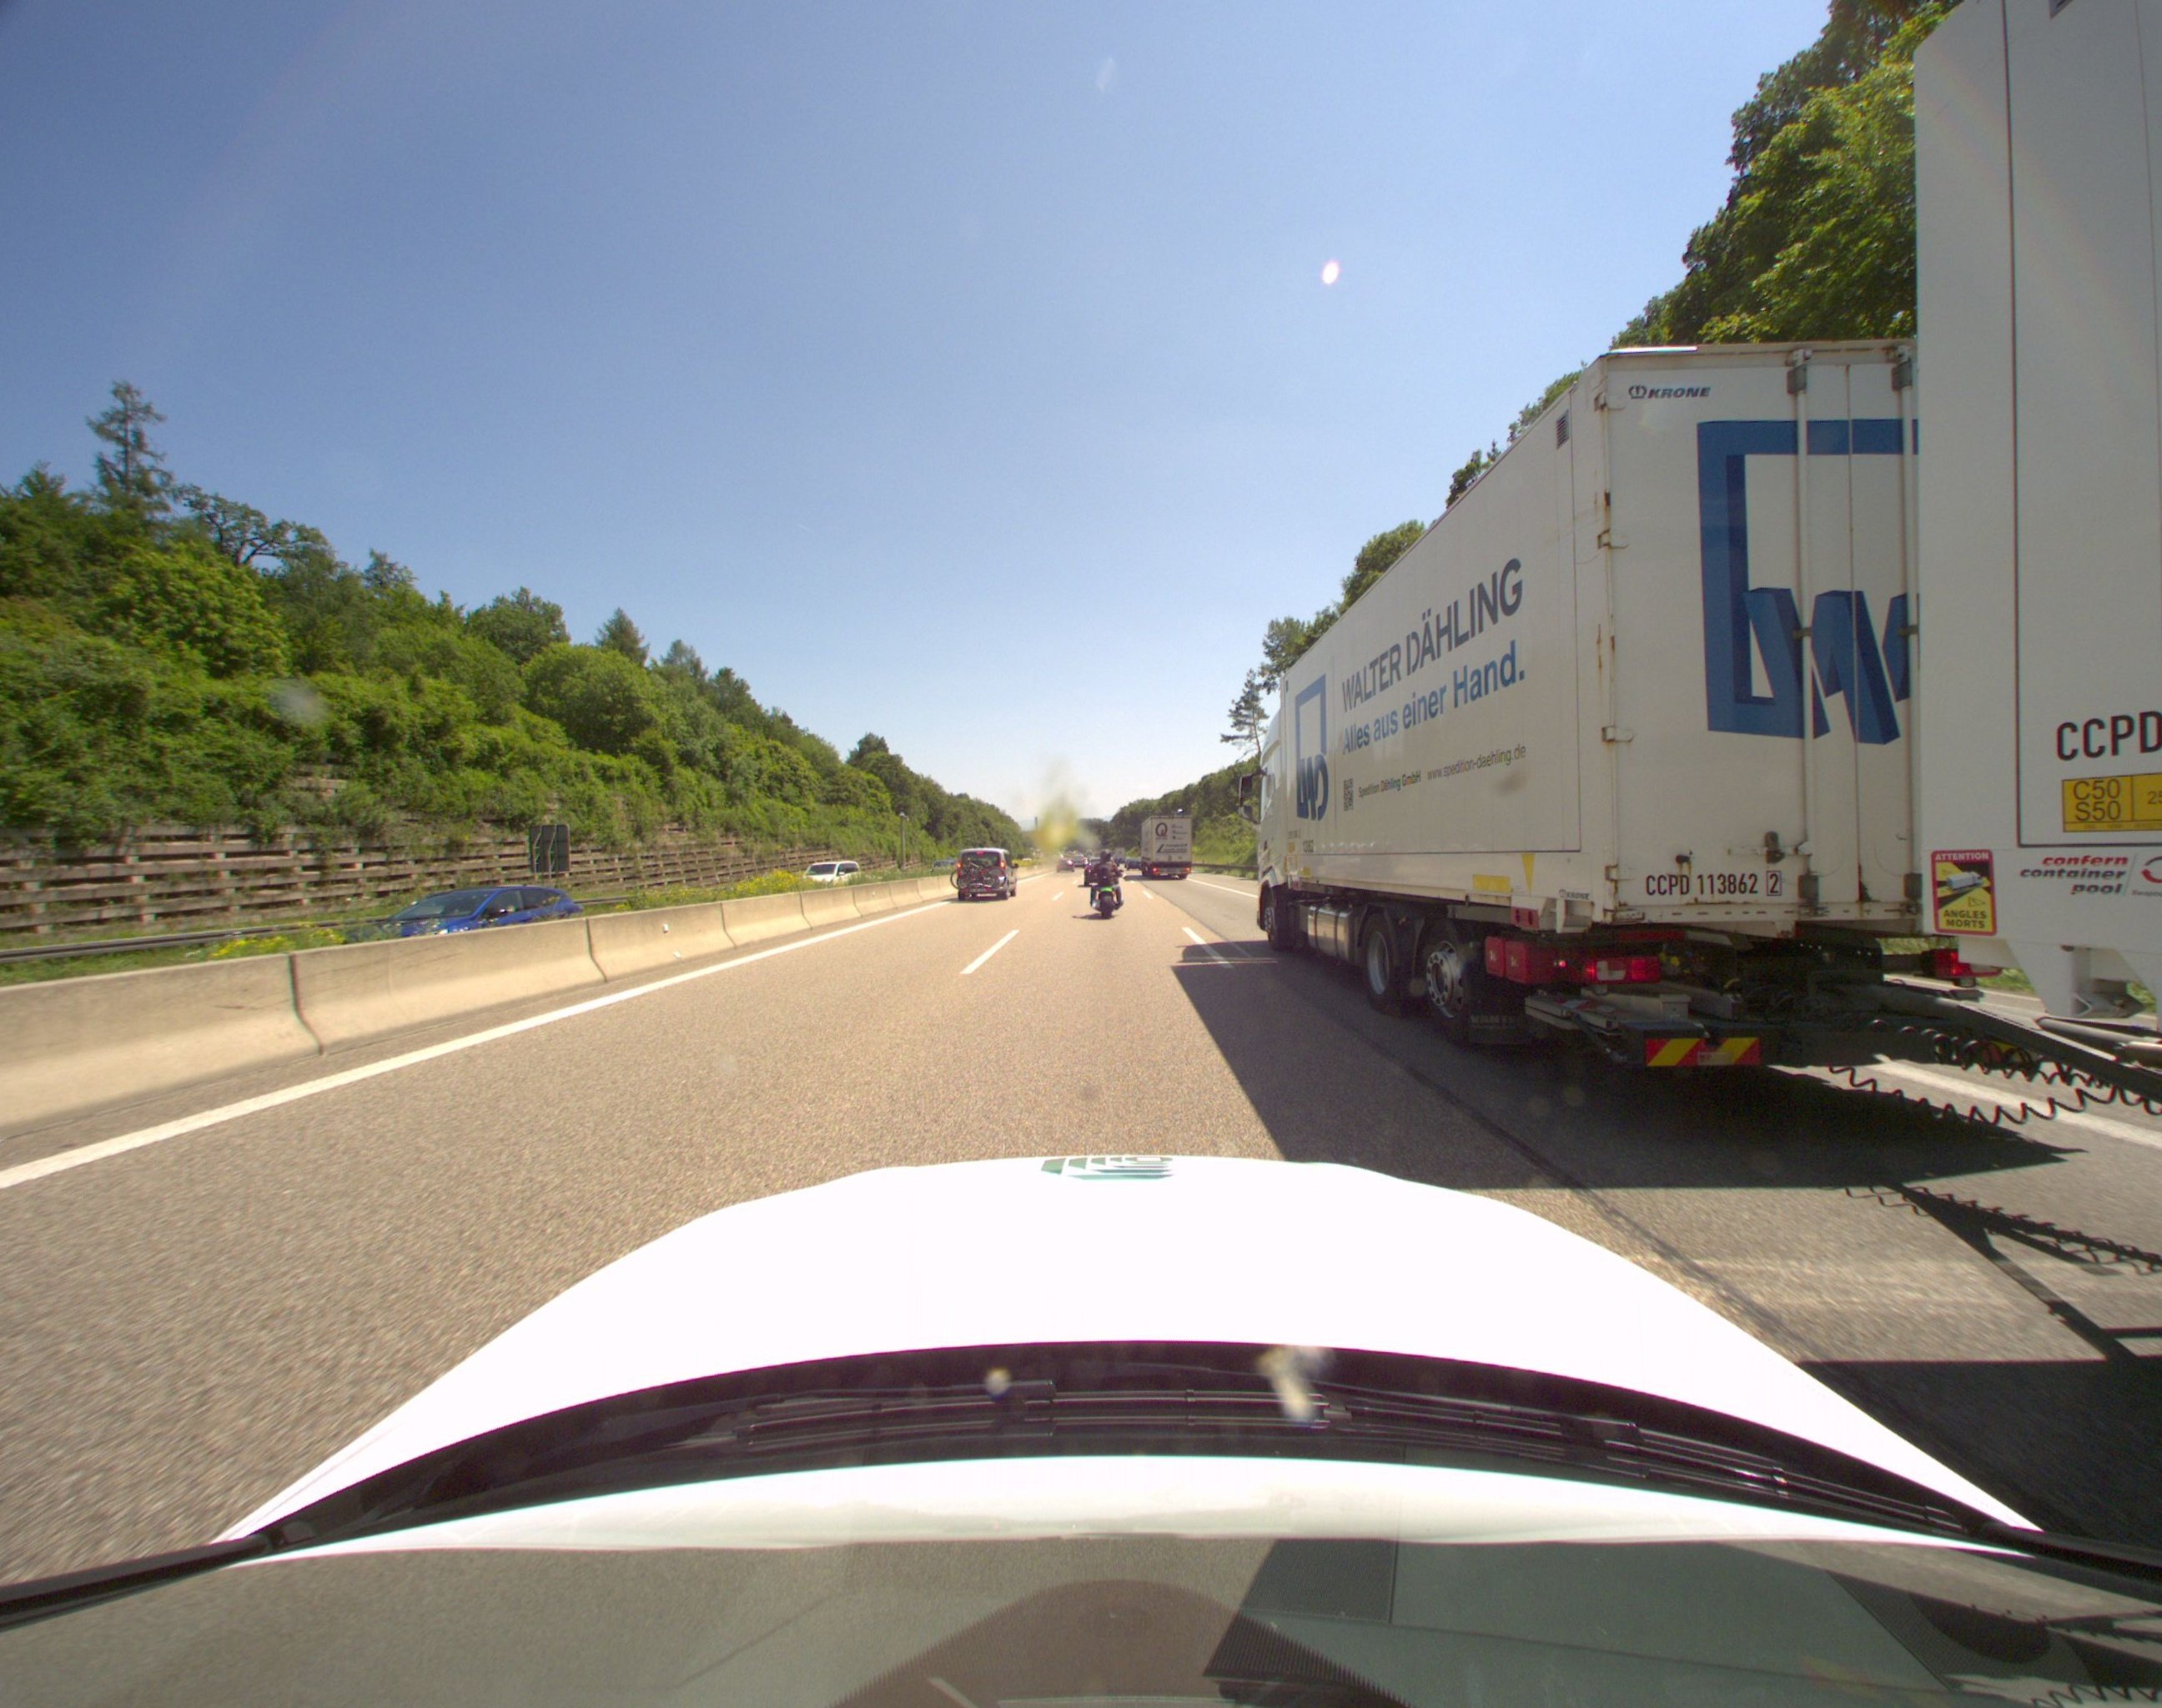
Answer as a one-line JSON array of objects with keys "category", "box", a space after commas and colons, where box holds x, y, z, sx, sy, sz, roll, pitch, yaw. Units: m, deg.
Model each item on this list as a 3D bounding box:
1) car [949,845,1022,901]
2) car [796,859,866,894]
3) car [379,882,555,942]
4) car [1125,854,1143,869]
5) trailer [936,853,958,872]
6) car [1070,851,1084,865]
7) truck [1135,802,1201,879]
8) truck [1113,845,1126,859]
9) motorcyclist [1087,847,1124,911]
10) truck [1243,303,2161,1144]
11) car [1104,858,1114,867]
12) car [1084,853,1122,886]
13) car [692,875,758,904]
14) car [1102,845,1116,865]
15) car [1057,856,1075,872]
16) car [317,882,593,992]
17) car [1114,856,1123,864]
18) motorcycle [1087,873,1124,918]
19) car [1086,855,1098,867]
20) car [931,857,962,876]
[{"category": "car", "box": [-3.383, 0.630, 29.906, 1.891, 1.848, 5.484, 0, 0, 1]}, {"category": "car", "box": [-13.007, 1.118, 42.754, 1.885, 1.607, 5.081, -2, 1, 2]}, {"category": "car", "box": [-19.309, 1.755, 25.960, 1.651, 1.453, 4.925, -2, 1, 2]}, {"category": "car", "box": [6.018, 0.822, 92.789, 1.824, 1.558, 4.121, 0, 1, 1]}, {"category": "trailer", "box": [-16.182, 1.001, 98.672, 1.888, 2.117, 3.497, -2, 0, 3]}, {"category": "car", "box": [-0.555, 0.529, 111.967, 1.824, 1.810, 4.121, 0, 1, 1]}, {"category": "truck", "box": [5.948, -0.958, 59.143, 3.371, 4.717, 17.715, 0, 1, 2]}, {"category": "truck", "box": [9.716, -0.597, 205.269, 3.056, 3.346, 9.656, 0, 1, 2]}, {"category": "motorcyclist", "box": [0.606, 0.598, 19.878, 0.852, 1.515, 0.914, -1, 0, 2]}, {"category": "truck", "box": [4.100, -0.686, 9.275, 2.670, 4.059, 10.630, -1, 1, 2]}, {"category": "car", "box": [5.038, 1.531, 146.617, 1.824, 1.558, 4.121, 0, 1, 1]}, {"category": "car", "box": [1.118, 0.766, 42.188, 1.839, 1.557, 4.441, 0, 1, 1]}, {"category": "car", "box": [-21.207, 2.086, 48.704, 1.930, 1.522, 4.204, -2, 0, 1]}, {"category": "car", "box": [3.834, 0.110, 110.763, 1.824, 2.490, 4.646, 0, 1, 1]}, {"category": "car", "box": [-1.556, 1.084, 86.255, 1.751, 1.543, 4.396, 0, 1, 1]}, {"category": "car", "box": [-10.525, 1.303, 14.118, 1.651, 1.453, 3.887, 0, 1, 2]}, {"category": "car", "box": [8.408, 1.362, 181.844, 1.824, 1.558, 4.121, 0, 1, 1]}, {"category": "motorcycle", "box": [0.619, 0.987, 19.983, 0.859, 0.982, 2.132, -1, 0, 2]}, {"category": "car", "box": [1.831, 1.150, 130.199, 1.824, 1.810, 4.121, 0, 1, 1]}, {"category": "car", "box": [-11.952, 1.088, 72.484, 1.781, 1.522, 4.206, -2, 0, 3]}]
